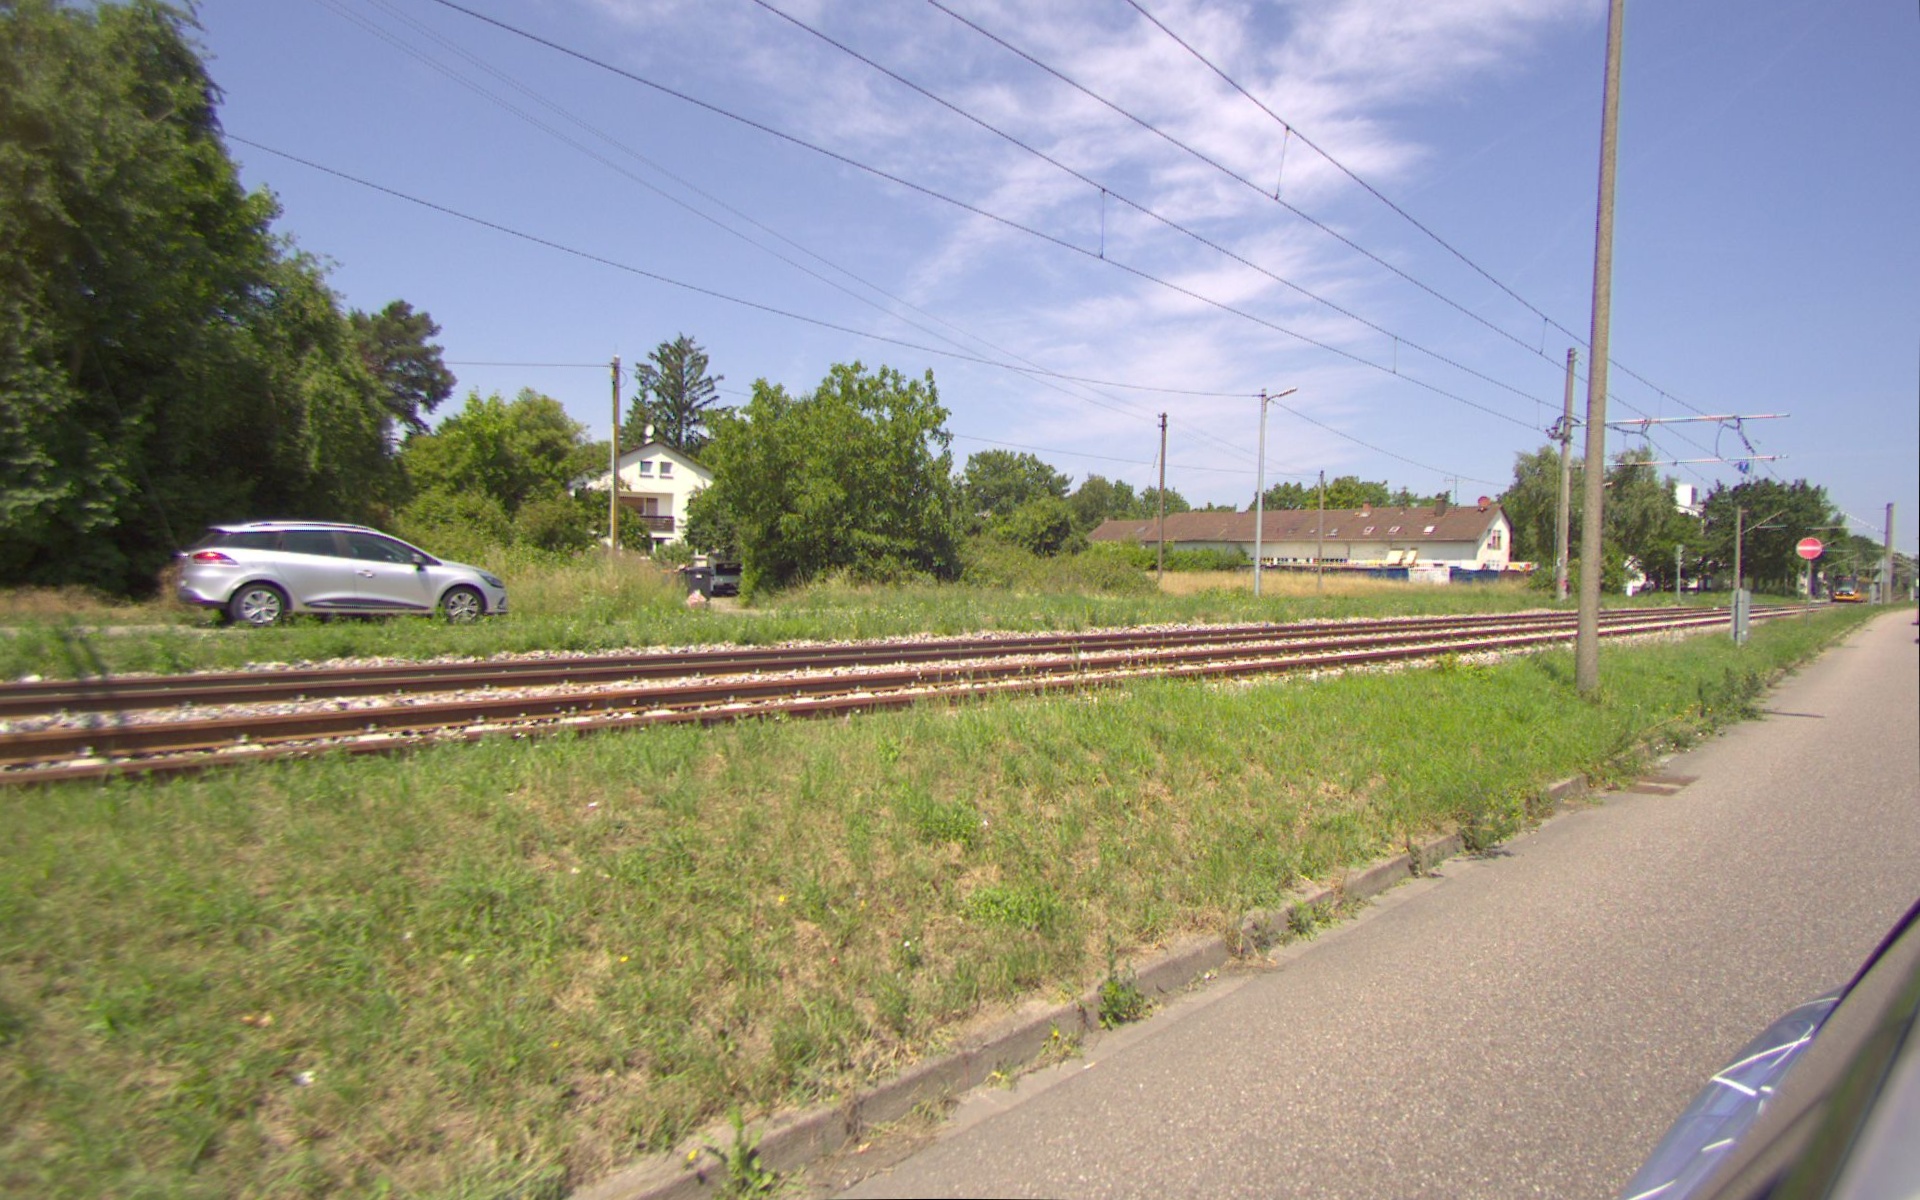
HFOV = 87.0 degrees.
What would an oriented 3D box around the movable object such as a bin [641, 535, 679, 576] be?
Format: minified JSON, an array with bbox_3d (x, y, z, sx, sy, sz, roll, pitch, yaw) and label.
[{"bbox_3d":[-7.078,-1.041,23.869,0.811,0.946,0.587,-1,2,-21],"label":"movable object such as a bin"}]

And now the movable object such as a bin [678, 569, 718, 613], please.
[{"bbox_3d":[-5.769,-0.211,22.233,0.763,0.946,0.805,-1,2,-21],"label":"movable object such as a bin"}]

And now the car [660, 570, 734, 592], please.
[{"bbox_3d":[-17.616,-1.291,67.866,4.457,1.437,1.990,1,2,17],"label":"car"}]

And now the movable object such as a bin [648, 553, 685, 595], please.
[{"bbox_3d":[-6.728,-0.597,23.186,0.786,0.946,0.450,-1,2,-21],"label":"movable object such as a bin"}]

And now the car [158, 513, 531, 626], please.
[{"bbox_3d":[-8.898,-0.475,14.897,4.472,1.431,1.683,-2,3,-41],"label":"car"}]
